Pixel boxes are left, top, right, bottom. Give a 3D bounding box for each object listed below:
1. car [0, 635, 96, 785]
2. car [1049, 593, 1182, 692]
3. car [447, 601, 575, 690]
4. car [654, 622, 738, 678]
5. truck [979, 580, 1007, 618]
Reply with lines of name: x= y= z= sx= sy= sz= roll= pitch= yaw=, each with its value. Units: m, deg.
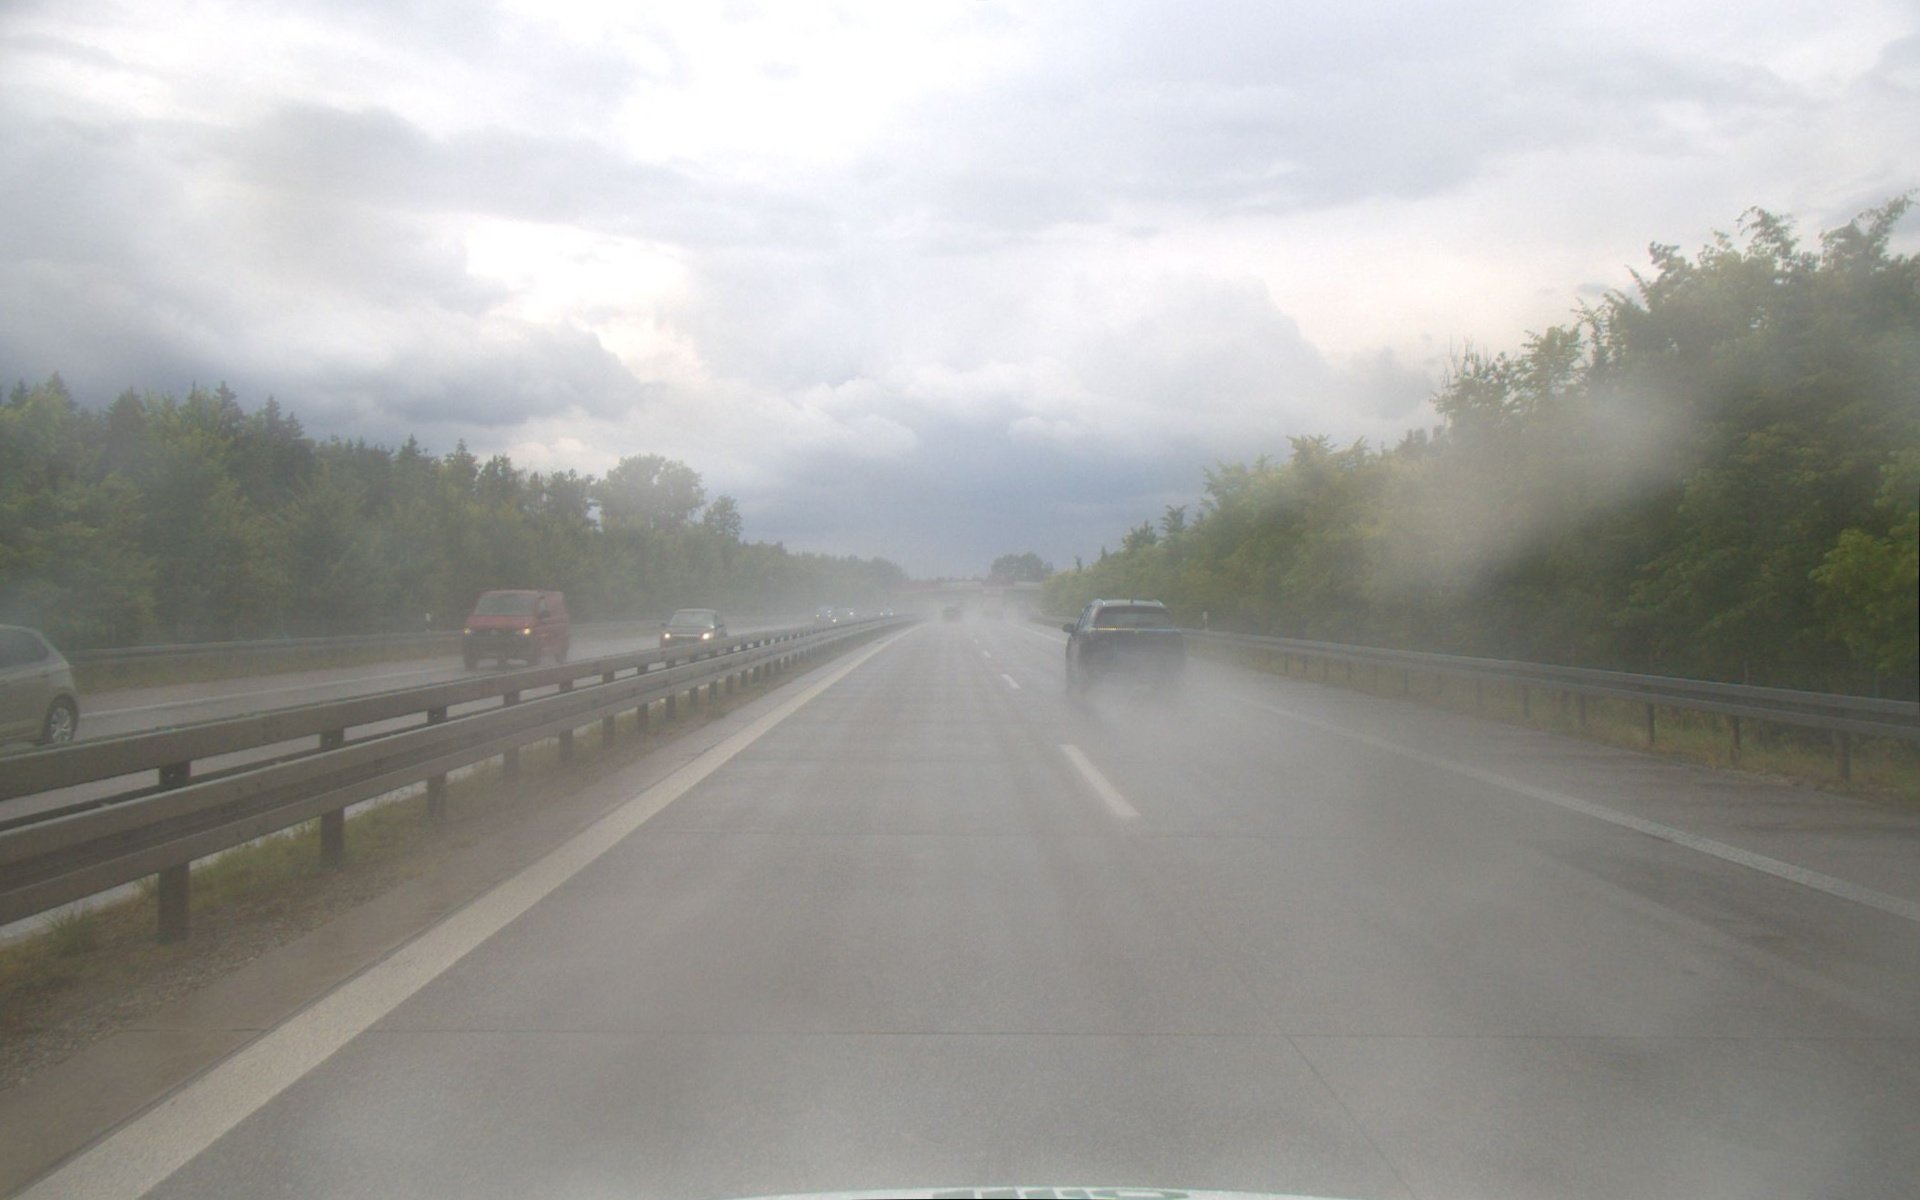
car: x=-10.586 y=1.177 z=16.667 sx=1.714 sy=1.460 sz=3.917 roll=-2 pitch=0 yaw=-1
car: x=2.633 y=0.730 z=28.830 sx=1.856 sy=1.604 sz=3.630 roll=1 pitch=-1 yaw=-2
car: x=-11.665 y=1.120 z=43.372 sx=1.953 sy=2.100 sz=5.312 roll=-2 pitch=0 yaw=-1
car: x=-8.246 y=1.542 z=52.008 sx=1.953 sy=1.509 sz=4.556 roll=-2 pitch=0 yaw=-1
truck: x=4.052 y=-0.024 z=201.367 sx=3.176 sy=4.515 sz=8.247 roll=0 pitch=-1 yaw=2
